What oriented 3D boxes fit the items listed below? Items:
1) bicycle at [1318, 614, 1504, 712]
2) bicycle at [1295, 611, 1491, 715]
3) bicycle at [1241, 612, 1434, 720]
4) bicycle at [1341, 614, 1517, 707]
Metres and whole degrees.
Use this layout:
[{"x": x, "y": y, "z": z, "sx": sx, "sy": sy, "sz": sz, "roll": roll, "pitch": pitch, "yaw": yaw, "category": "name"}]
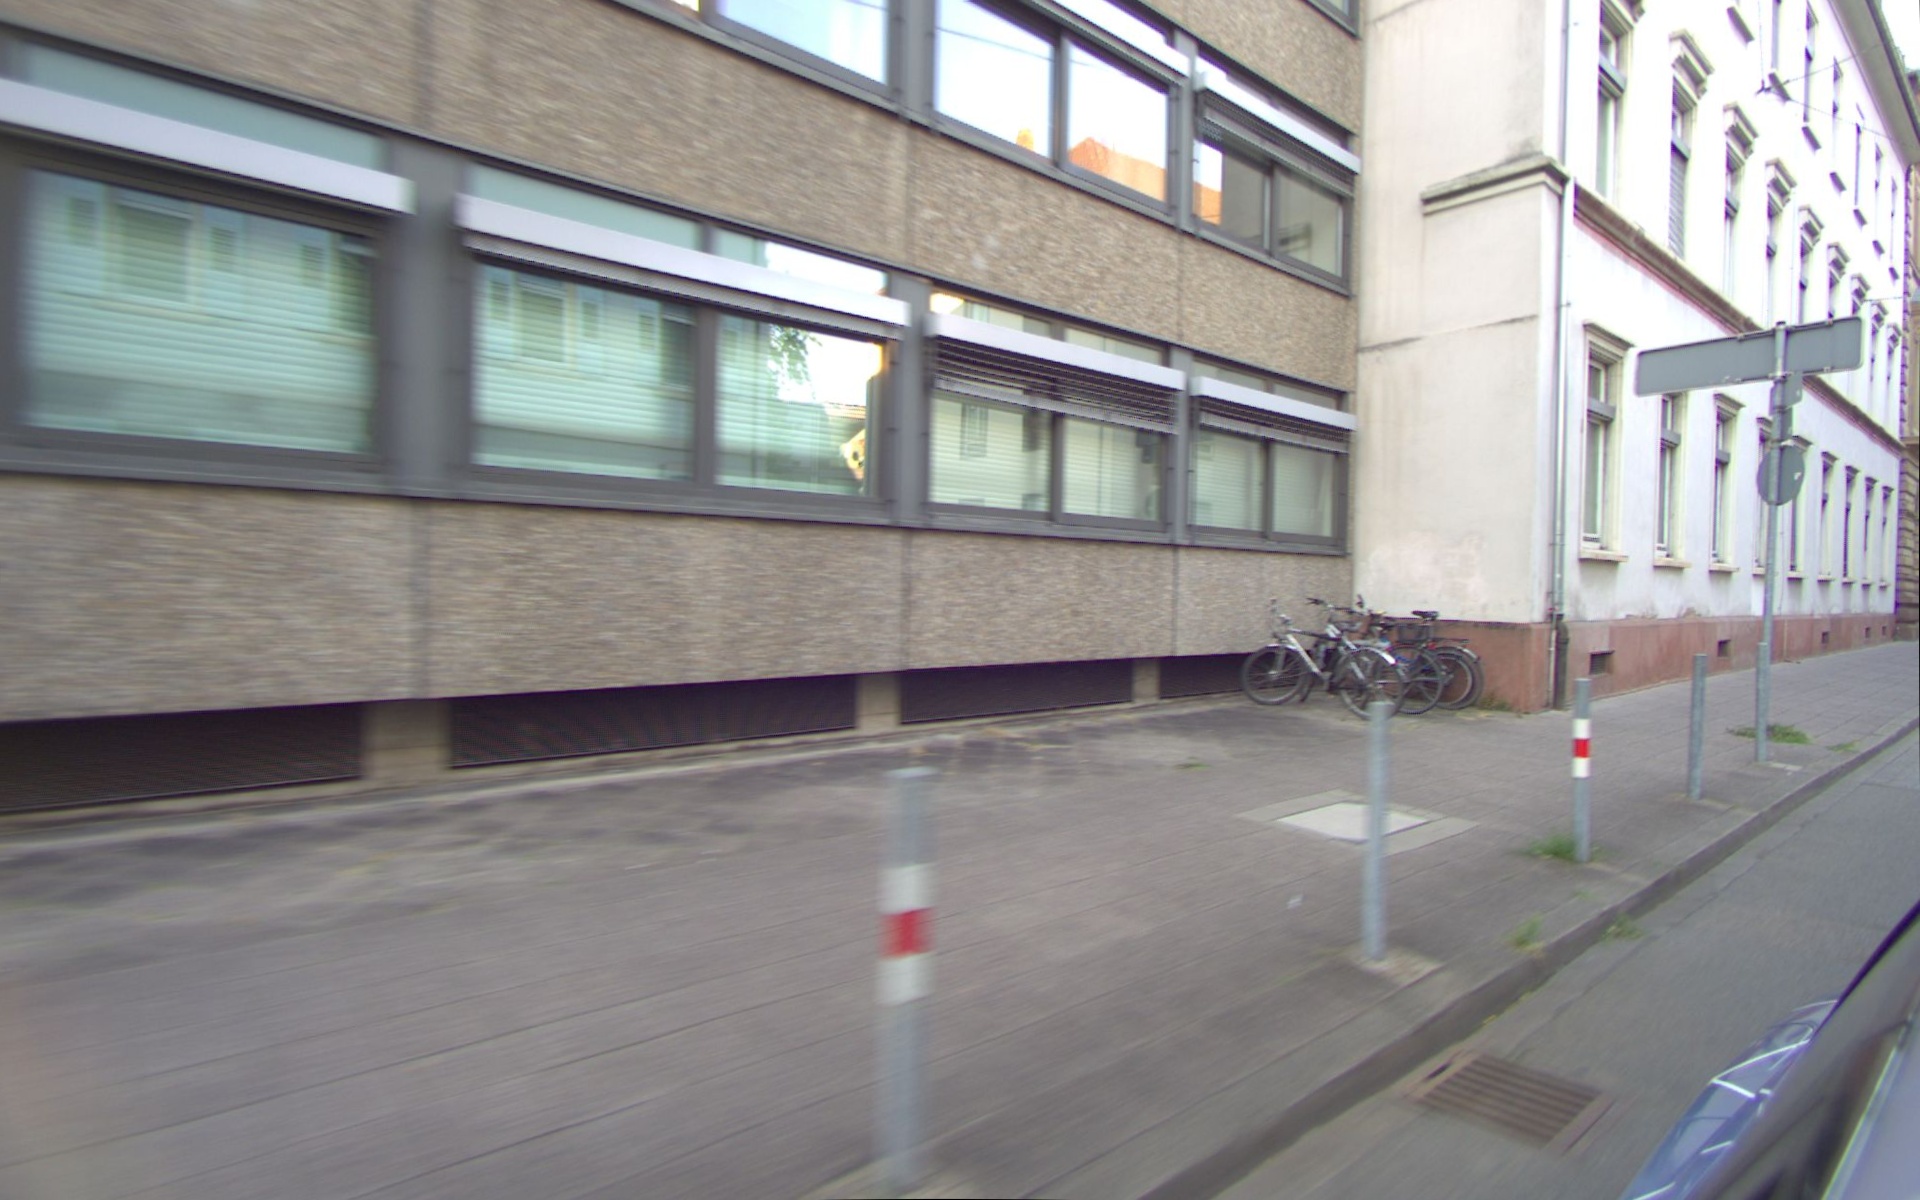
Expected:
[{"x": 4.906, "y": 0.656, "z": 11.106, "sx": 1.794, "sy": 0.934, "sz": 0.509, "roll": 1, "pitch": 1, "yaw": 43, "category": "bicycle"}, {"x": 4.451, "y": 0.614, "z": 10.492, "sx": 1.794, "sy": 0.934, "sz": 0.530, "roll": 1, "pitch": 1, "yaw": 43, "category": "bicycle"}, {"x": 3.729, "y": 0.614, "z": 10.107, "sx": 1.739, "sy": 0.934, "sz": 0.530, "roll": 1, "pitch": 1, "yaw": 43, "category": "bicycle"}, {"x": 5.293, "y": 0.652, "z": 11.517, "sx": 0.389, "sy": 0.934, "sz": 1.797, "roll": 0, "pitch": 1, "yaw": -44, "category": "bicycle"}]
